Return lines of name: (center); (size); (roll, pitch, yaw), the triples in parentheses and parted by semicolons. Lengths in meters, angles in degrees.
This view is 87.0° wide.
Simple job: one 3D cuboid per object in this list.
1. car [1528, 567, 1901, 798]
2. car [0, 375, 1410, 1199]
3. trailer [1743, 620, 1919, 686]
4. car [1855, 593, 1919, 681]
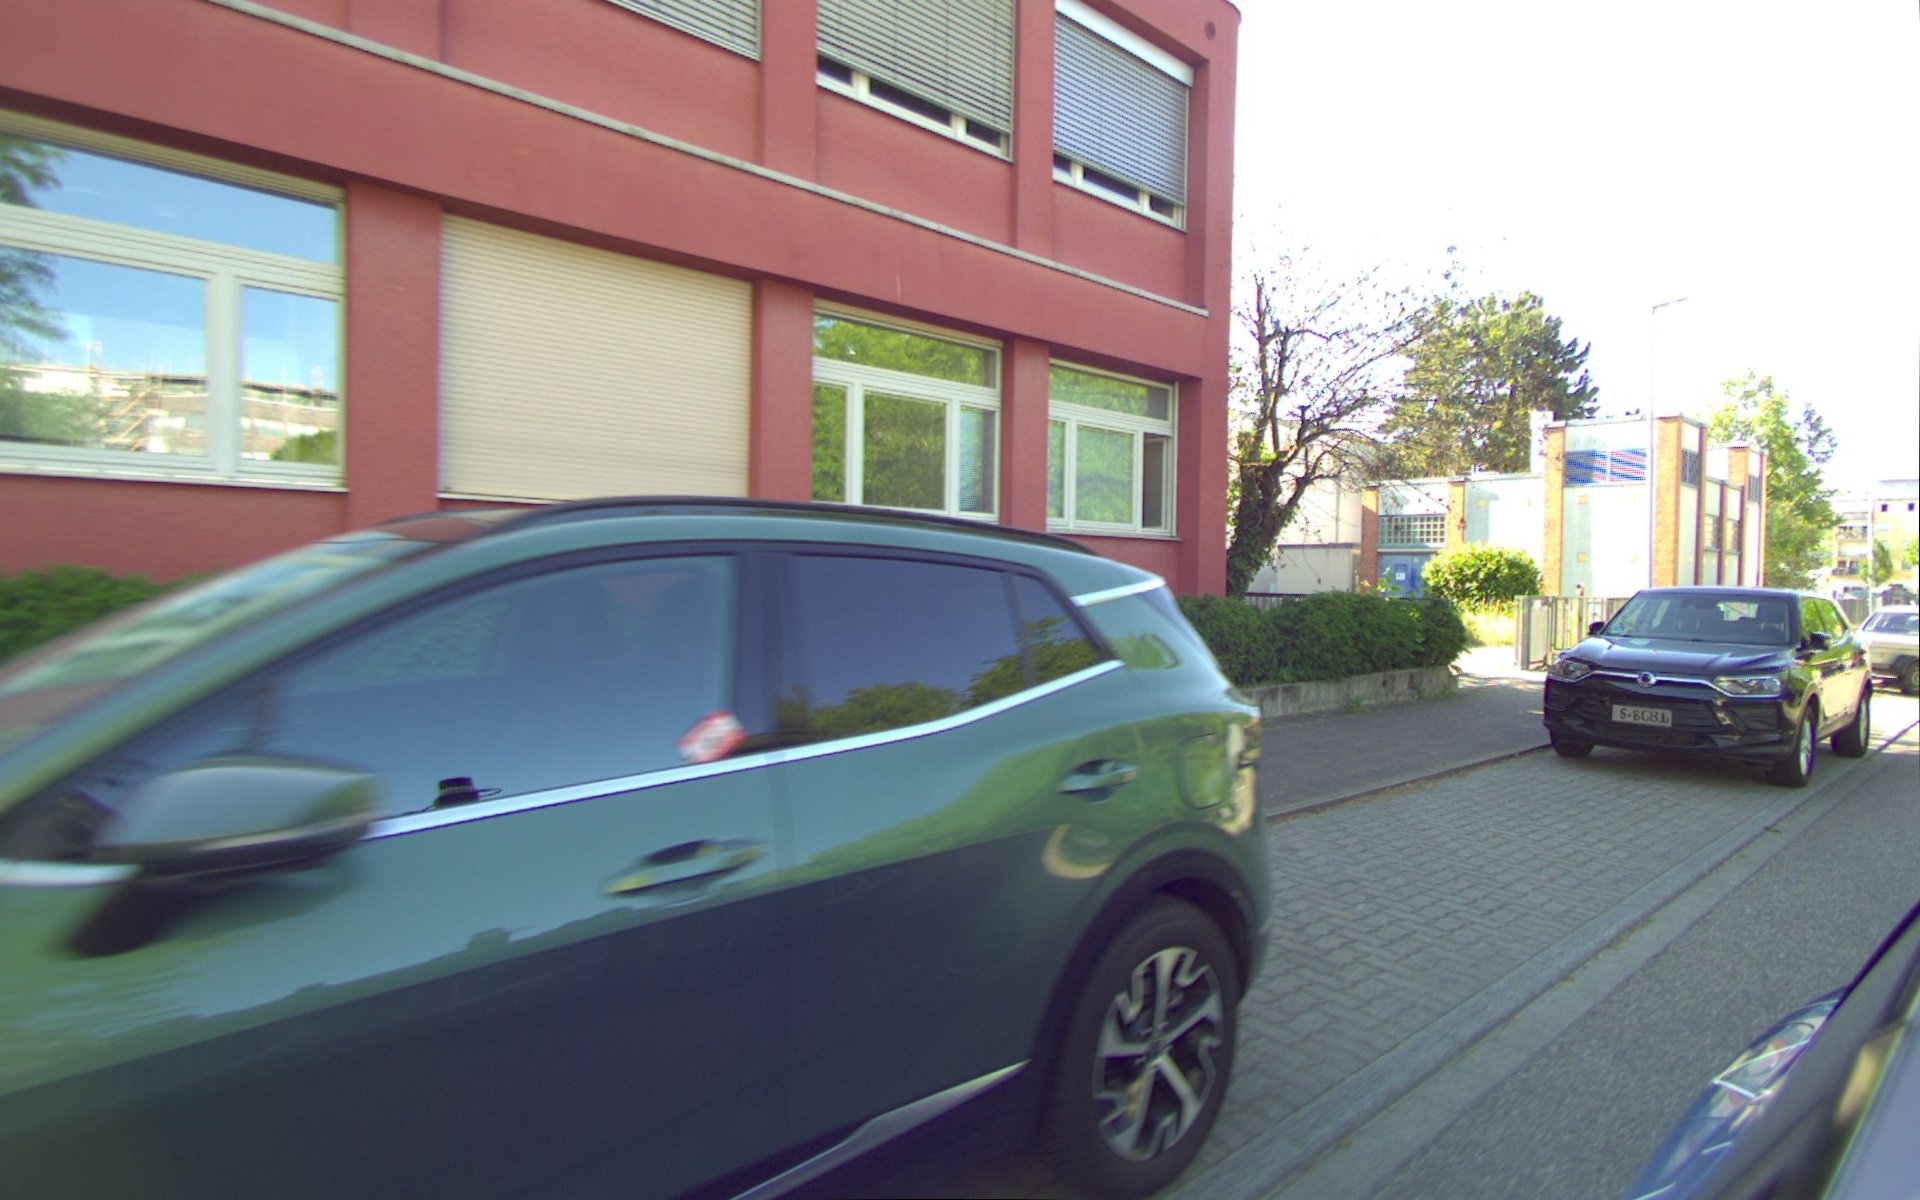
car: (7.201, 0.569, 9.495); (4.329, 1.650, 1.878); (0, 2, -41)
car: (-0.892, 0.551, 2.399); (4.295, 1.650, 1.902); (0, 2, -41)
trailer: (15.002, 0.860, 16.883); (2.918, 0.938, 1.571); (1, 2, -14)
car: (17.978, 0.644, 18.639); (3.821, 1.474, 1.699); (0, 2, -41)
